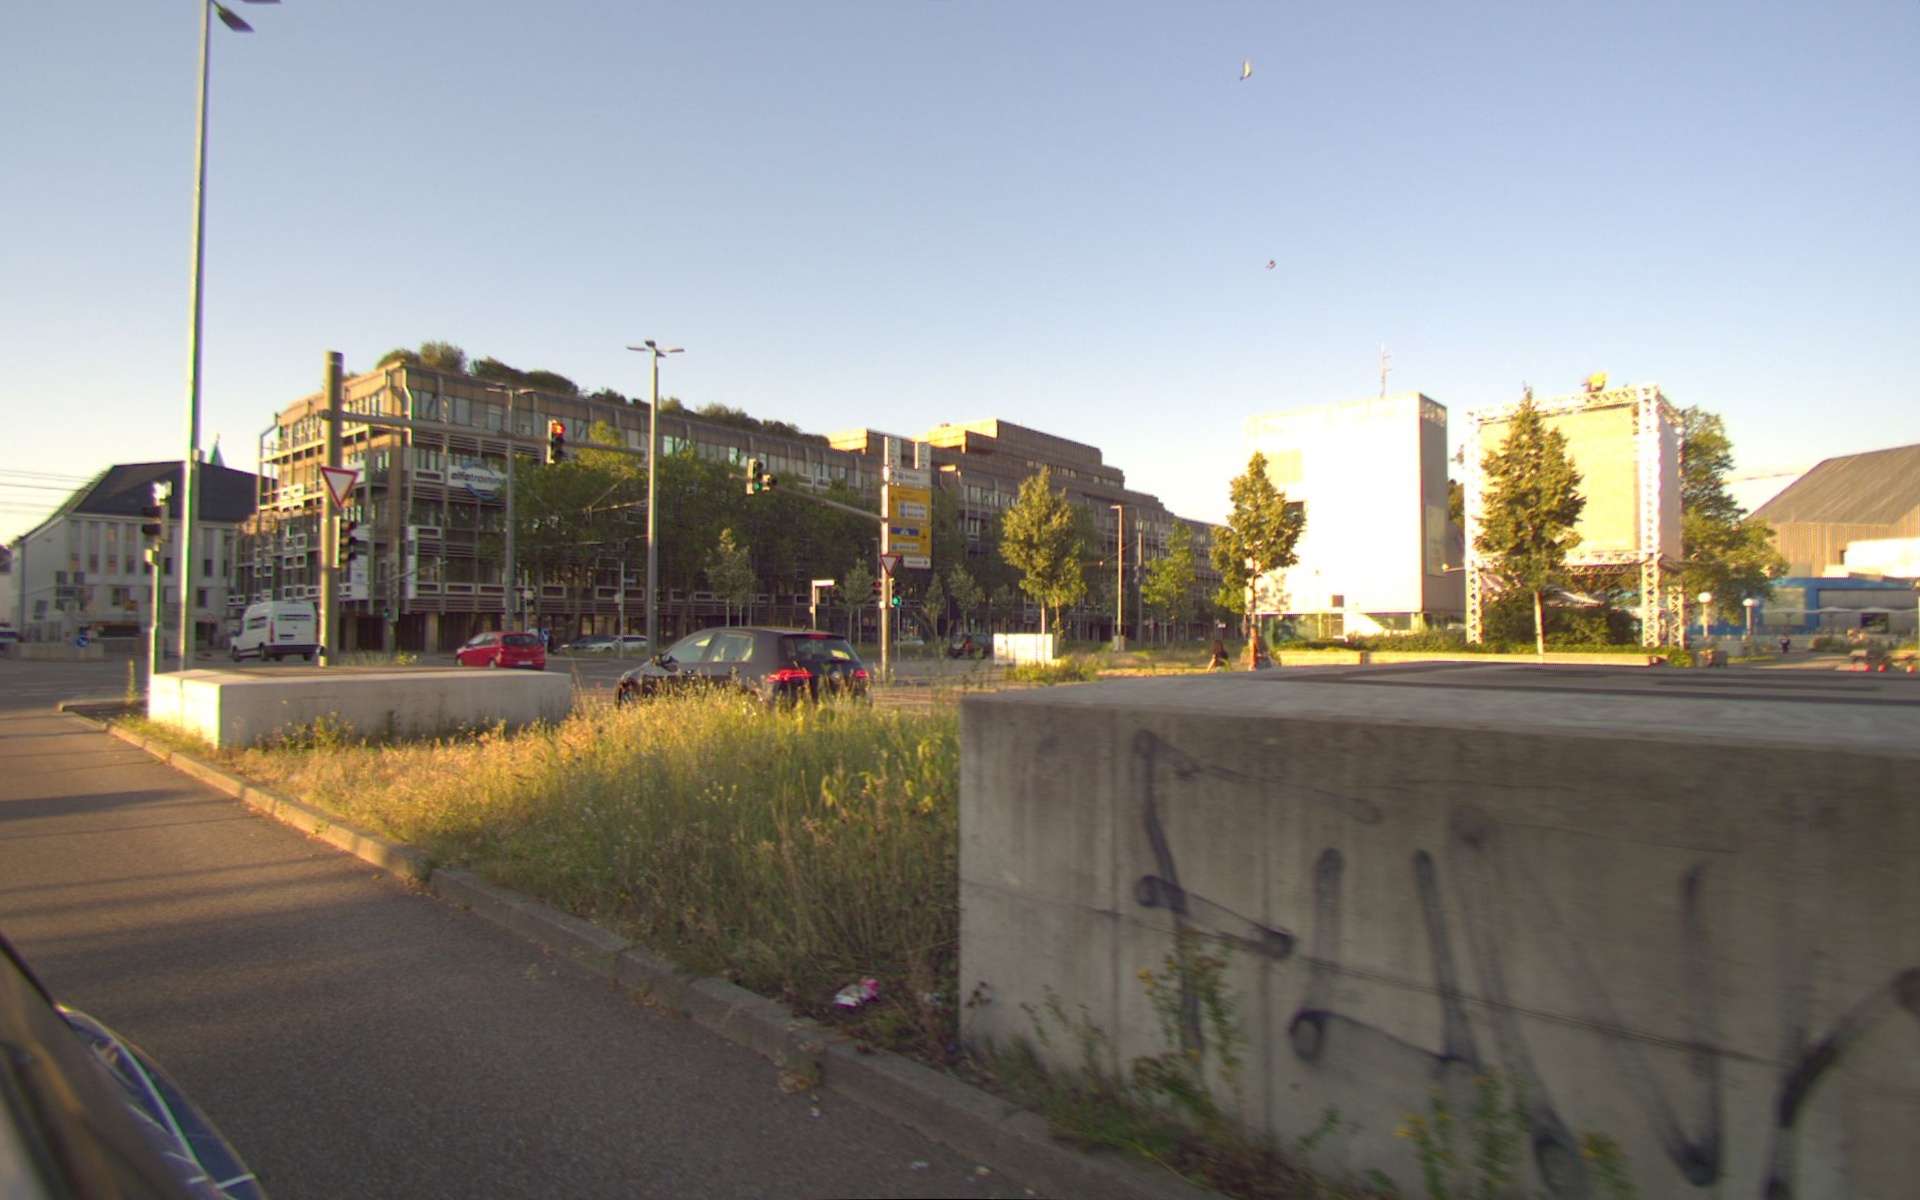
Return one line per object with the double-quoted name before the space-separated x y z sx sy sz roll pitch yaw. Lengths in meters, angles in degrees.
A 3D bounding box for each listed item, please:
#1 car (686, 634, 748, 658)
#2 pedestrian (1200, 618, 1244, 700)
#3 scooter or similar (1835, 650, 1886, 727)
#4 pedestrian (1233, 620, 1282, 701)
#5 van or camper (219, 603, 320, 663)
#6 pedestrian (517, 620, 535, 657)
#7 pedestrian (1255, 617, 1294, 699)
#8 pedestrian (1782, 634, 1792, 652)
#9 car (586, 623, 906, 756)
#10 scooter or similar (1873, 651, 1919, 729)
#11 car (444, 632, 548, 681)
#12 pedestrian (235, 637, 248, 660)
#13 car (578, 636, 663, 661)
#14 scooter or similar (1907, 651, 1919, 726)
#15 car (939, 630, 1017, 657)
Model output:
"car" -17.720 3.322 73.897 2.072 1.663 3.946 -2 -3 40
"pedestrian" 6.381 1.426 24.647 0.776 1.948 0.624 -3 -2 44
"scooter or similar" 16.644 1.607 18.734 0.500 1.315 1.841 -1 -2 36
"pedestrian" 7.062 1.413 24.024 0.776 1.850 0.862 -2 1 44
"van or camper" -32.970 1.597 48.249 6.153 2.687 2.205 -2 -3 38
"pedestrian" -23.049 2.054 53.792 0.680 1.946 0.636 -2 -3 40
"pedestrian" 7.656 1.400 24.667 0.648 1.948 0.652 -3 -3 44
"pedestrian" 63.710 3.297 77.972 0.381 1.418 0.572 -1 -2 22
"car" -2.983 1.070 13.536 4.536 1.477 1.866 -2 -2 42
"scooter or similar" 17.063 1.607 18.444 0.417 1.315 1.771 -1 -2 36
"car" -15.895 1.890 34.593 3.995 1.538 1.619 -1 -2 39
"pedestrian" -54.600 3.707 76.898 0.682 1.726 0.637 -3 -4 44
"car" -22.735 3.243 67.872 1.999 1.597 5.092 -2 -3 42
"scooter or similar" 17.439 1.594 18.139 0.422 1.315 1.814 -1 -2 36
"car" 1.108 2.590 61.037 4.408 1.564 2.076 2 -2 -41
